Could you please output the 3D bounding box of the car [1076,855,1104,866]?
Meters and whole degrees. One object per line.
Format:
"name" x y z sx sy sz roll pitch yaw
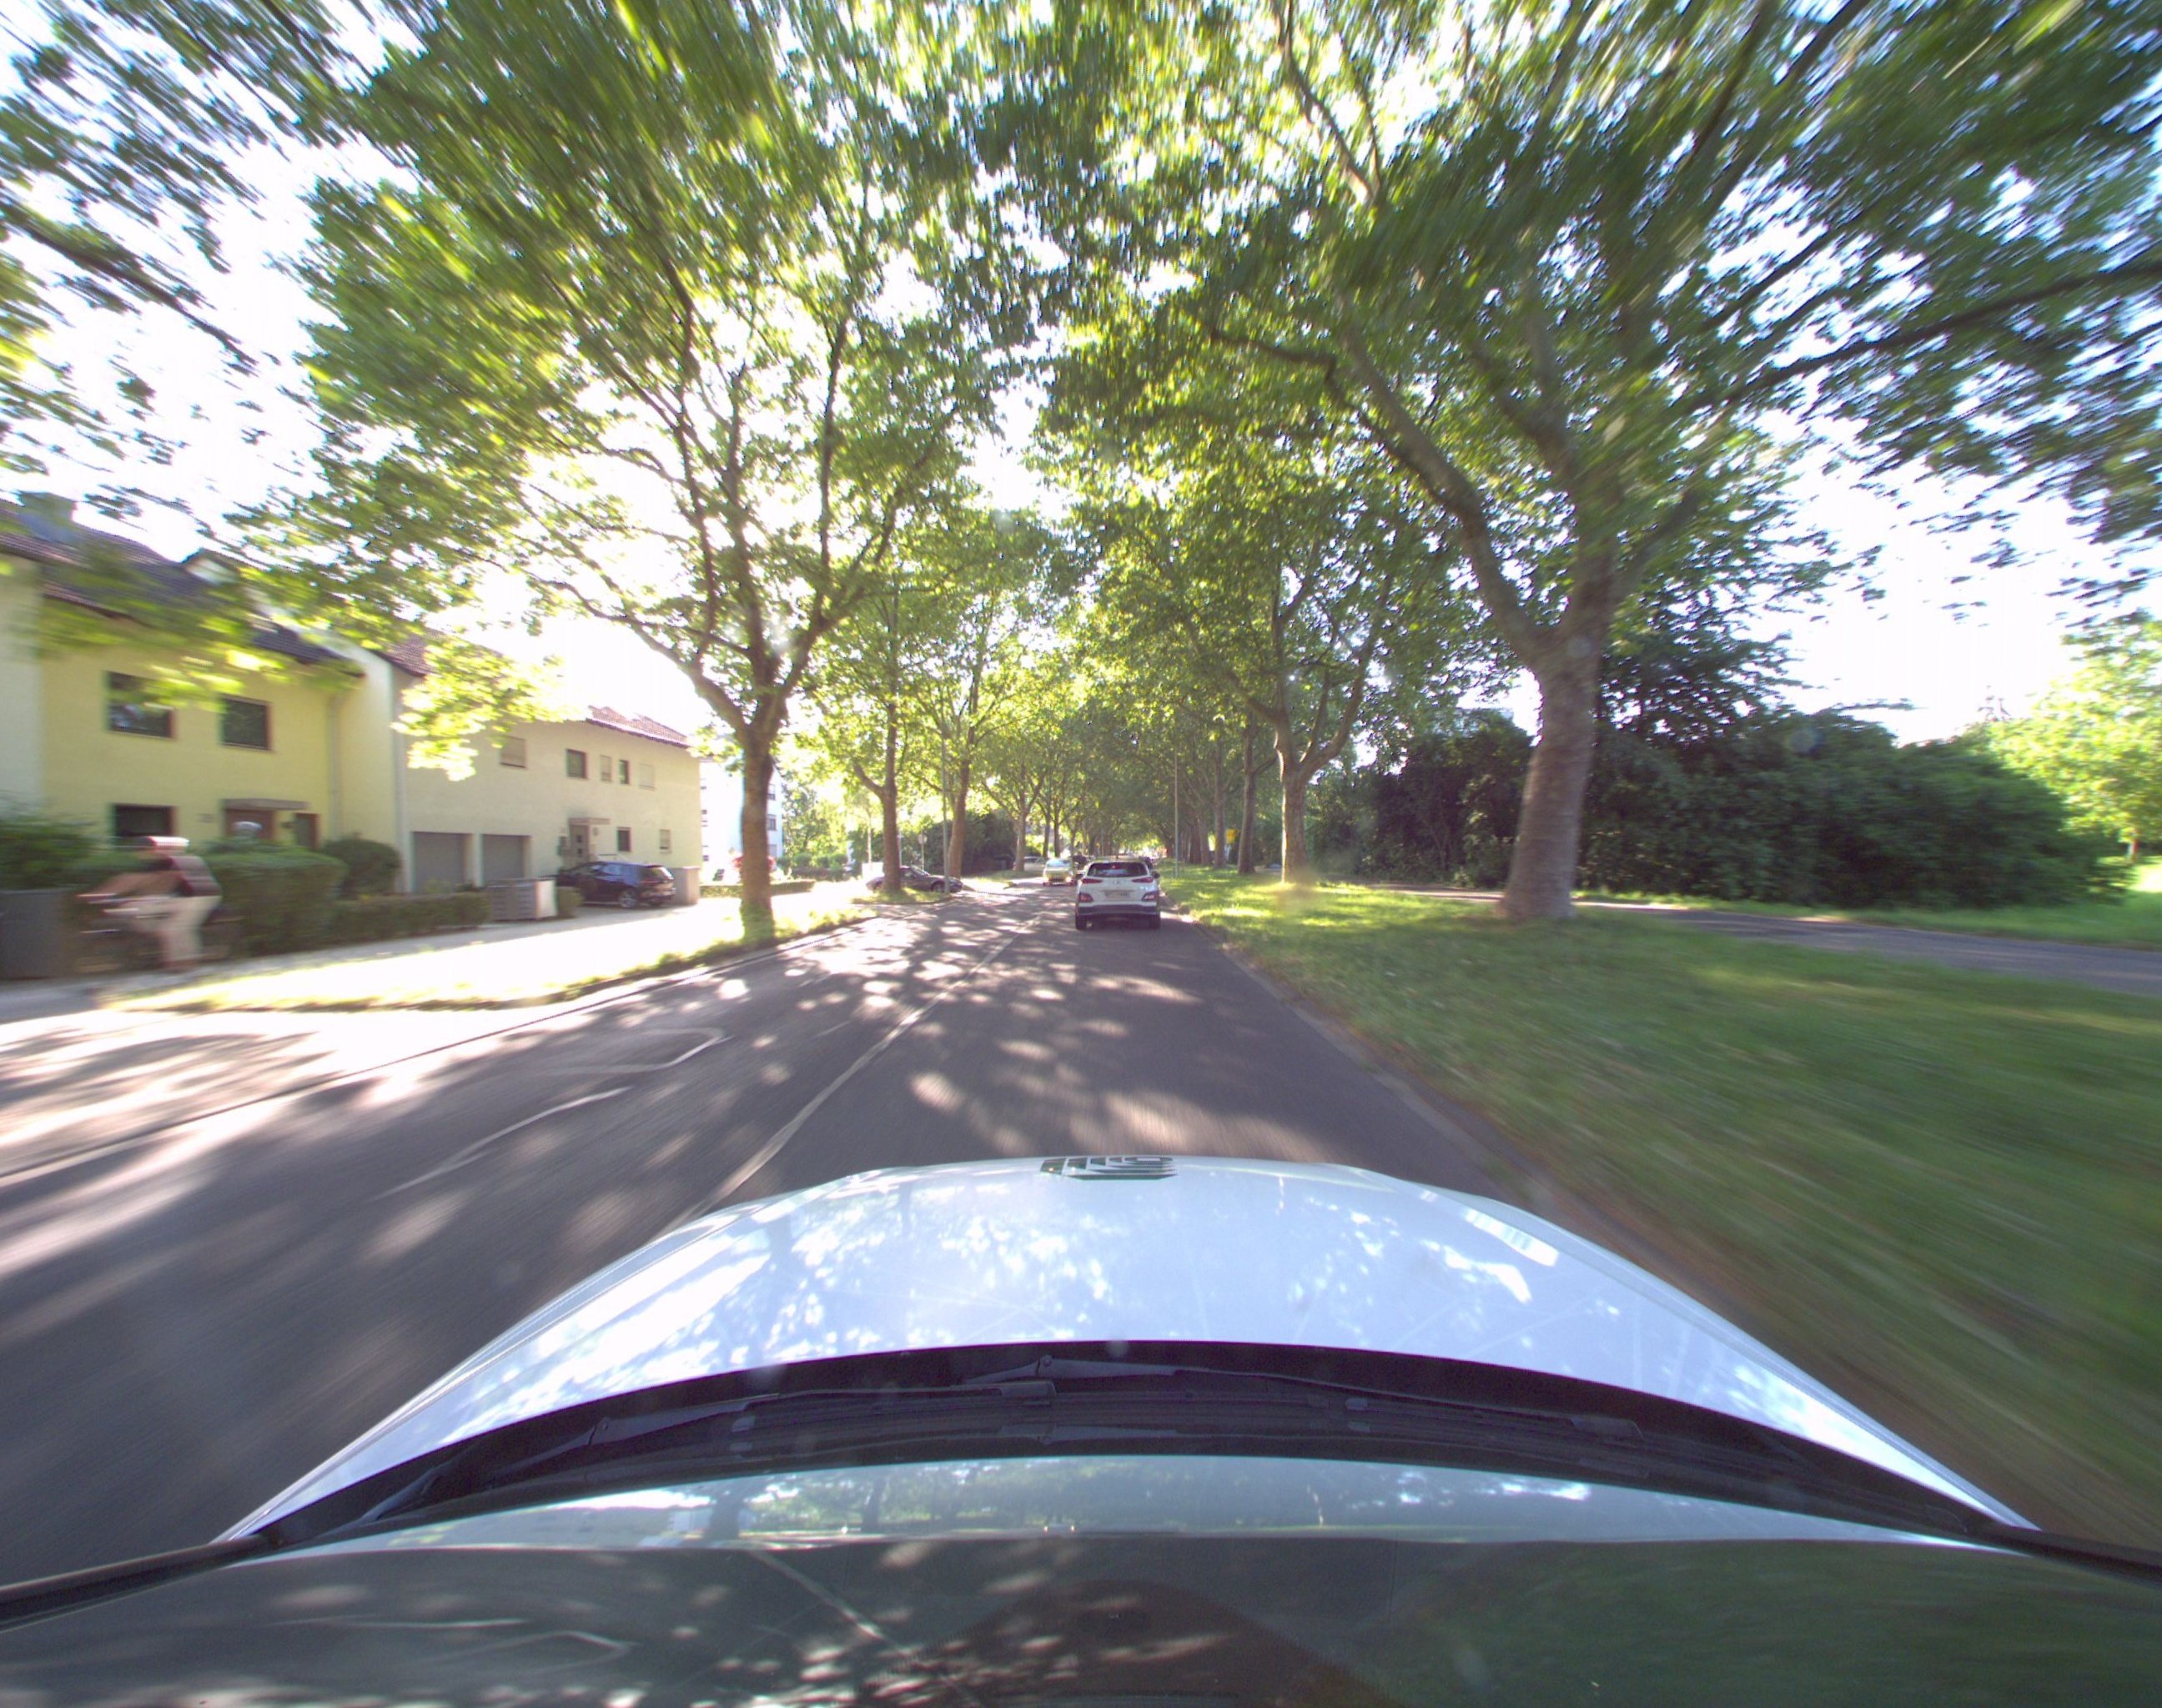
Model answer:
"car" 1.399 0.994 120.588 3.966 1.470 1.812 -1 0 6

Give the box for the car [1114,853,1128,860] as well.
"car" 11.141 0.733 226.816 3.974 1.772 2.000 -1 -1 0

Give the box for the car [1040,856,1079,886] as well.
"car" -1.134 0.883 44.335 1.776 1.512 3.842 -1 0 4

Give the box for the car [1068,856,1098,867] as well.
"car" 0.282 1.026 112.987 3.969 1.470 1.782 -1 0 4

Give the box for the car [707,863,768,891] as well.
"car" -20.907 1.358 49.744 1.986 1.575 4.000 -1 0 1

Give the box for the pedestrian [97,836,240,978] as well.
"pedestrian" -11.710 0.653 10.492 0.614 1.716 1.066 -1 -1 2

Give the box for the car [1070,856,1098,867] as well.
"car" 0.417 1.067 115.339 3.973 1.424 1.809 -1 0 0

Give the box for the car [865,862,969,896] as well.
"car" -6.666 1.008 33.392 3.811 1.316 1.791 0 0 2

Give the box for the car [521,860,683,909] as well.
"car" -15.082 0.935 25.783 3.971 1.464 1.902 0 0 2

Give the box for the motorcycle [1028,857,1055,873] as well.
"motorcycle" -3.549 0.997 73.162 2.378 1.388 0.648 -1 0 -1

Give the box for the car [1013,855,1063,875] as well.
"car" -3.734 0.954 70.690 4.169 1.584 2.000 -1 -1 0

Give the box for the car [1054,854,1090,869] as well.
"car" -1.096 0.943 99.381 4.224 1.680 1.673 -1 0 4

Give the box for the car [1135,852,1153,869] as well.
"car" 6.797 0.685 87.737 1.671 1.696 3.745 -1 0 0

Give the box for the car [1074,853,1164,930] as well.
"car" 0.763 0.789 18.671 1.830 1.556 3.999 -1 -1 0

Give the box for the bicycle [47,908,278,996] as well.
"bicycle" -11.681 1.206 10.494 0.468 0.880 2.157 -1 0 2

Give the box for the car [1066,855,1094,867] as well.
"car" -0.092 1.006 118.320 3.969 1.520 1.811 -1 0 4
